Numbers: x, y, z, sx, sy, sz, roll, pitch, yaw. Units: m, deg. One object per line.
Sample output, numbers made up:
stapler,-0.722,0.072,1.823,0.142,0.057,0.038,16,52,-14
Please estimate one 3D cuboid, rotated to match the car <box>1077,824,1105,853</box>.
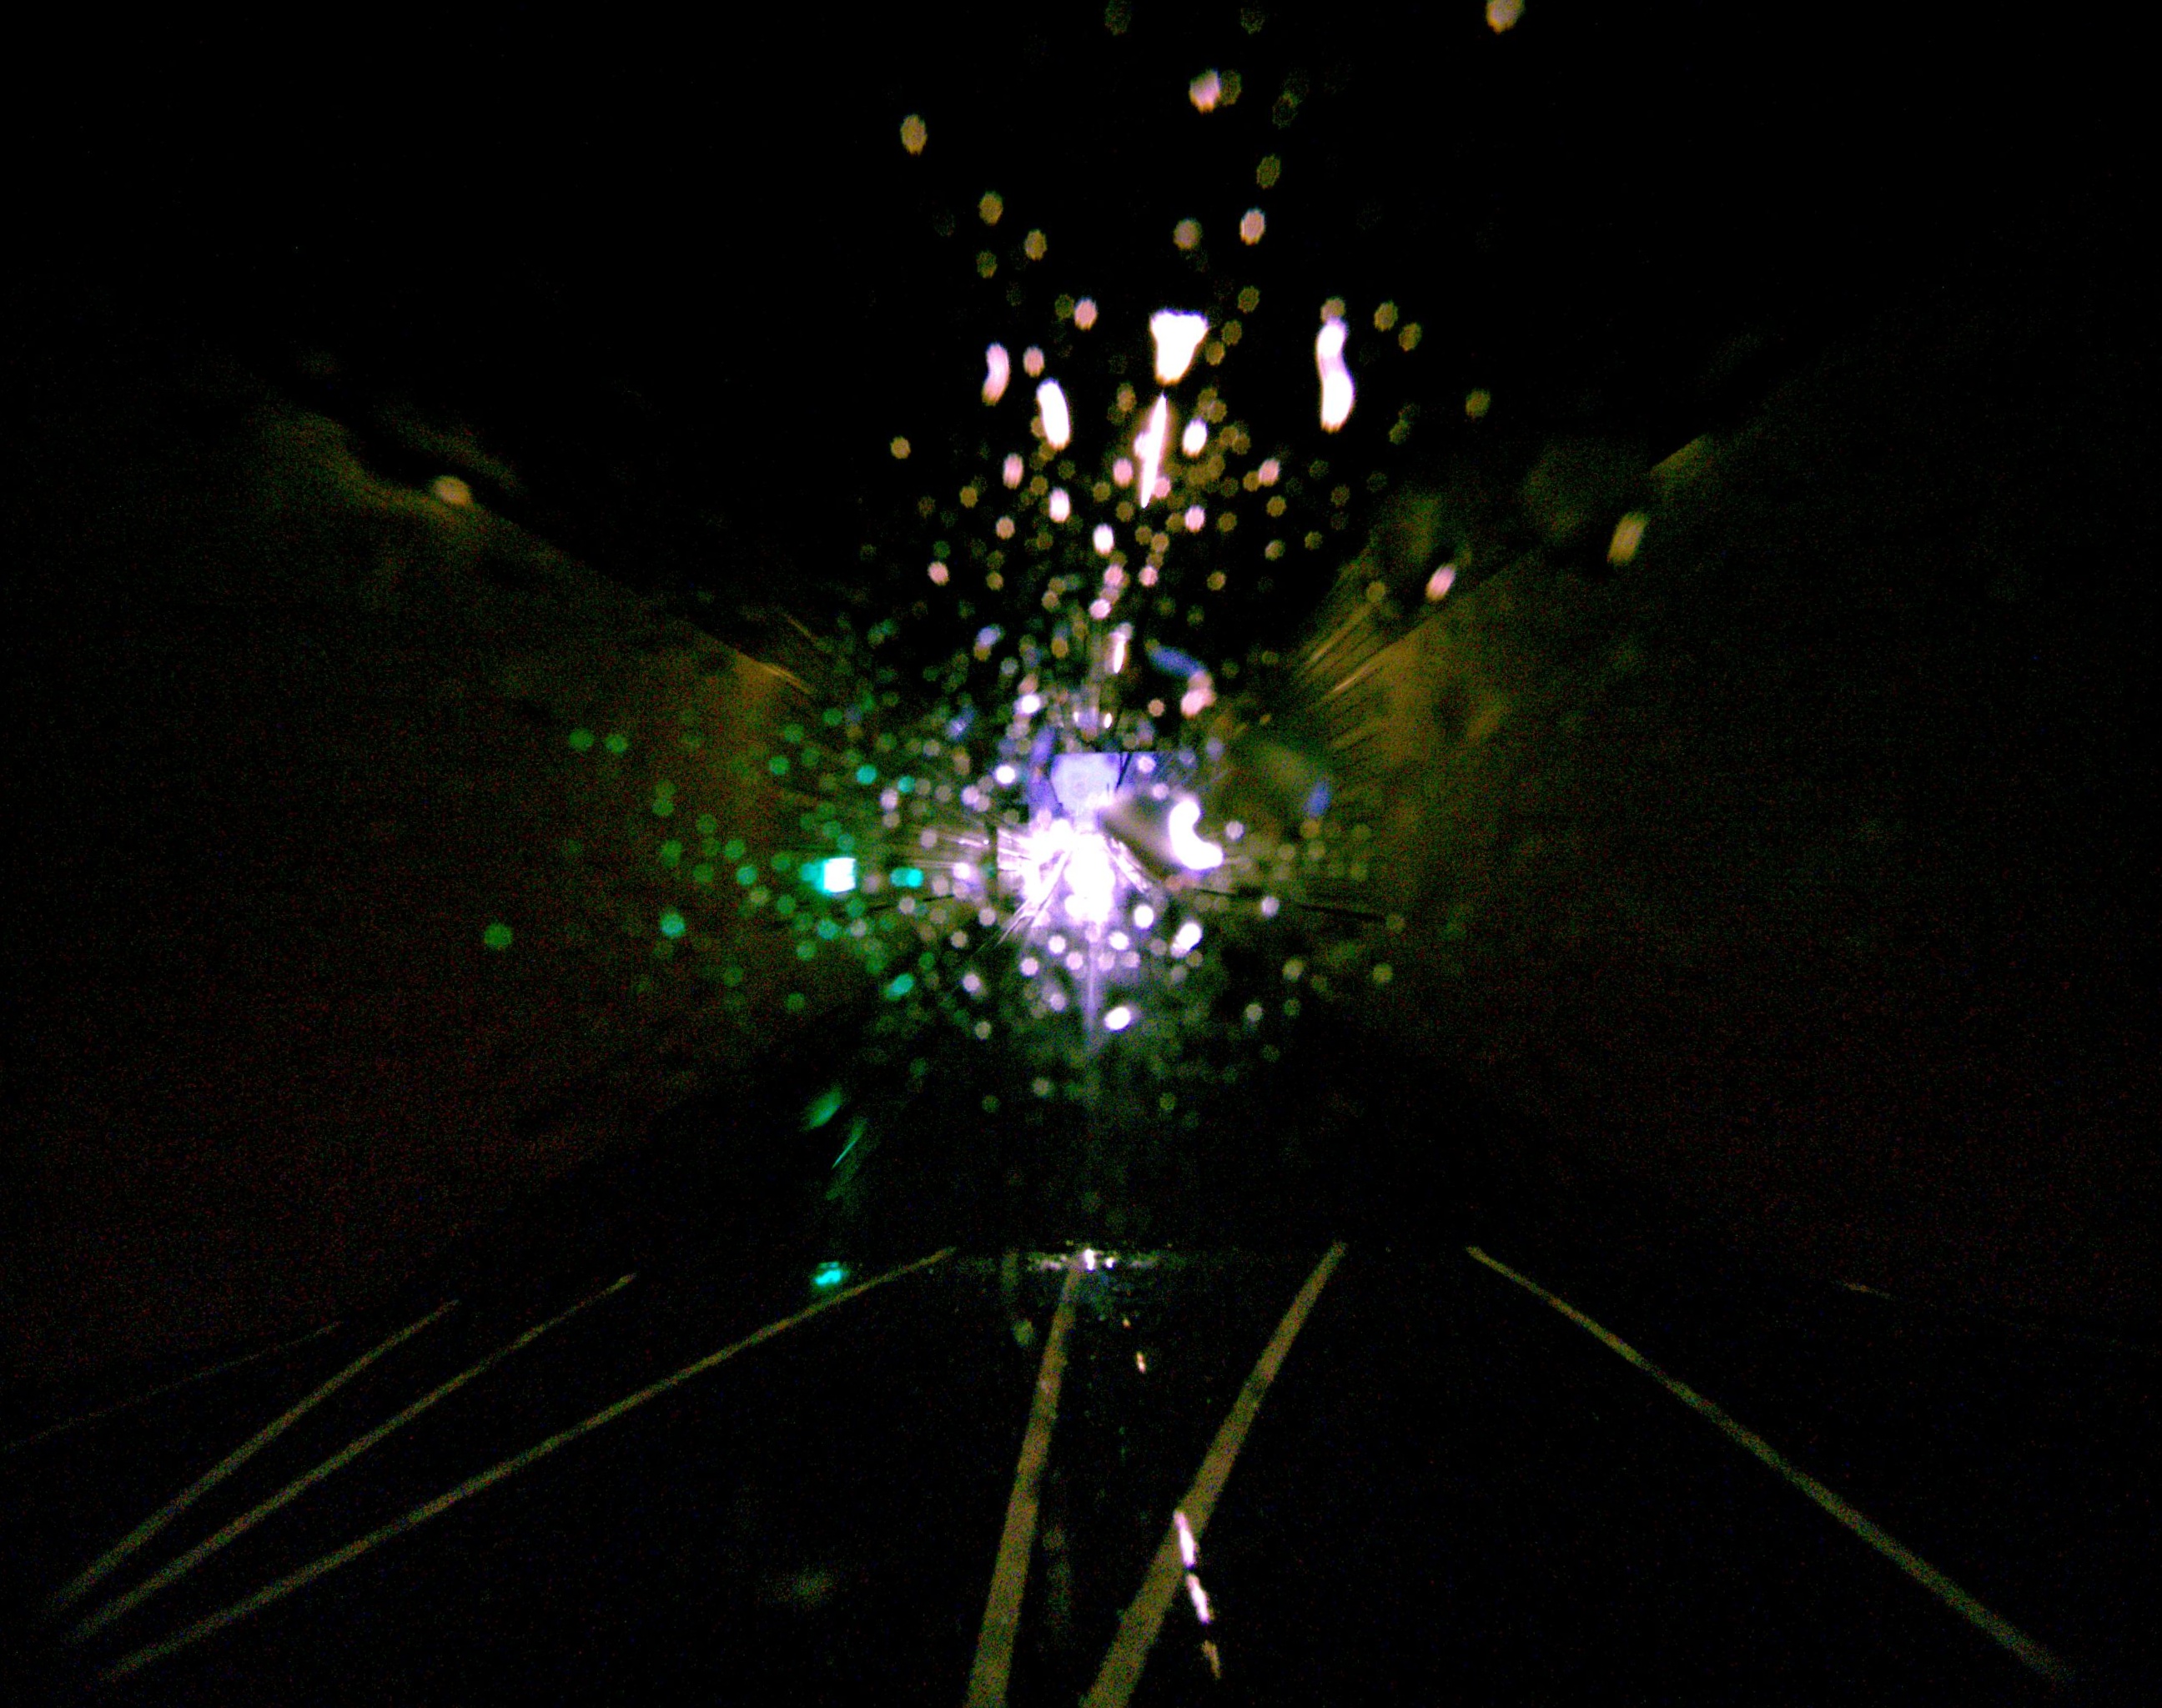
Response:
car,0.829,-1.218,60.532,2.030,2.017,4.426,-2,-1,1
